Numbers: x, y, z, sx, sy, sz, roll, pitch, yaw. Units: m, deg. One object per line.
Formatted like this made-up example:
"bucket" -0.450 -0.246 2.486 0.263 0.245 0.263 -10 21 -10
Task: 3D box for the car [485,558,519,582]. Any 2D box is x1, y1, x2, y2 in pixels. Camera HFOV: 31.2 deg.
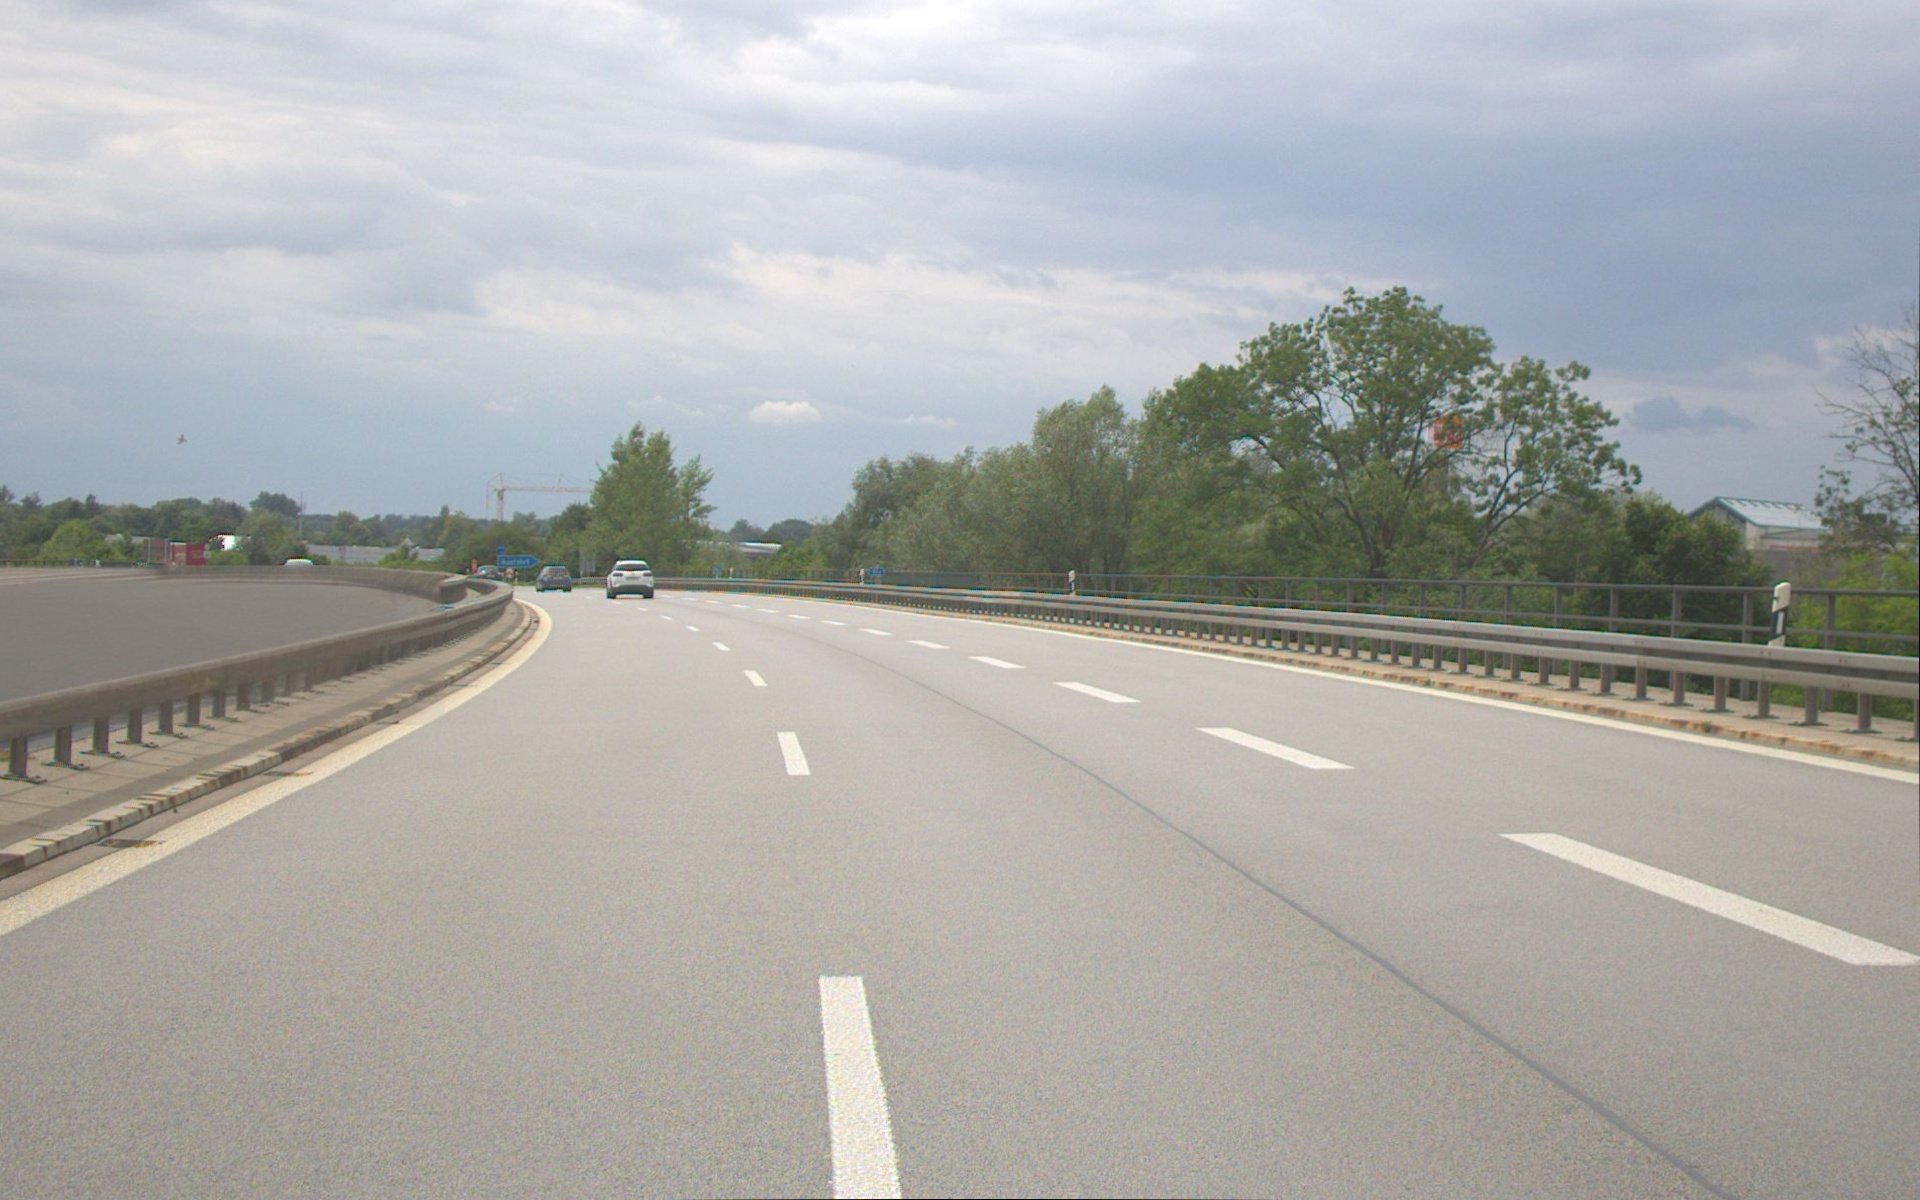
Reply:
"car" -31.544 -2.097 236.617 1.902 1.634 4.781 0 1 -13

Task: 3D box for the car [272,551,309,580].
"car" -33.382 -1.707 171.447 1.531 1.402 4.329 1 1 -7

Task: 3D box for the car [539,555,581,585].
"car" -22.767 -1.724 195.781 1.892 1.634 4.623 0 1 -13

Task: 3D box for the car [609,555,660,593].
"car" -14.185 -1.137 149.526 1.902 1.634 4.397 1 1 -9
